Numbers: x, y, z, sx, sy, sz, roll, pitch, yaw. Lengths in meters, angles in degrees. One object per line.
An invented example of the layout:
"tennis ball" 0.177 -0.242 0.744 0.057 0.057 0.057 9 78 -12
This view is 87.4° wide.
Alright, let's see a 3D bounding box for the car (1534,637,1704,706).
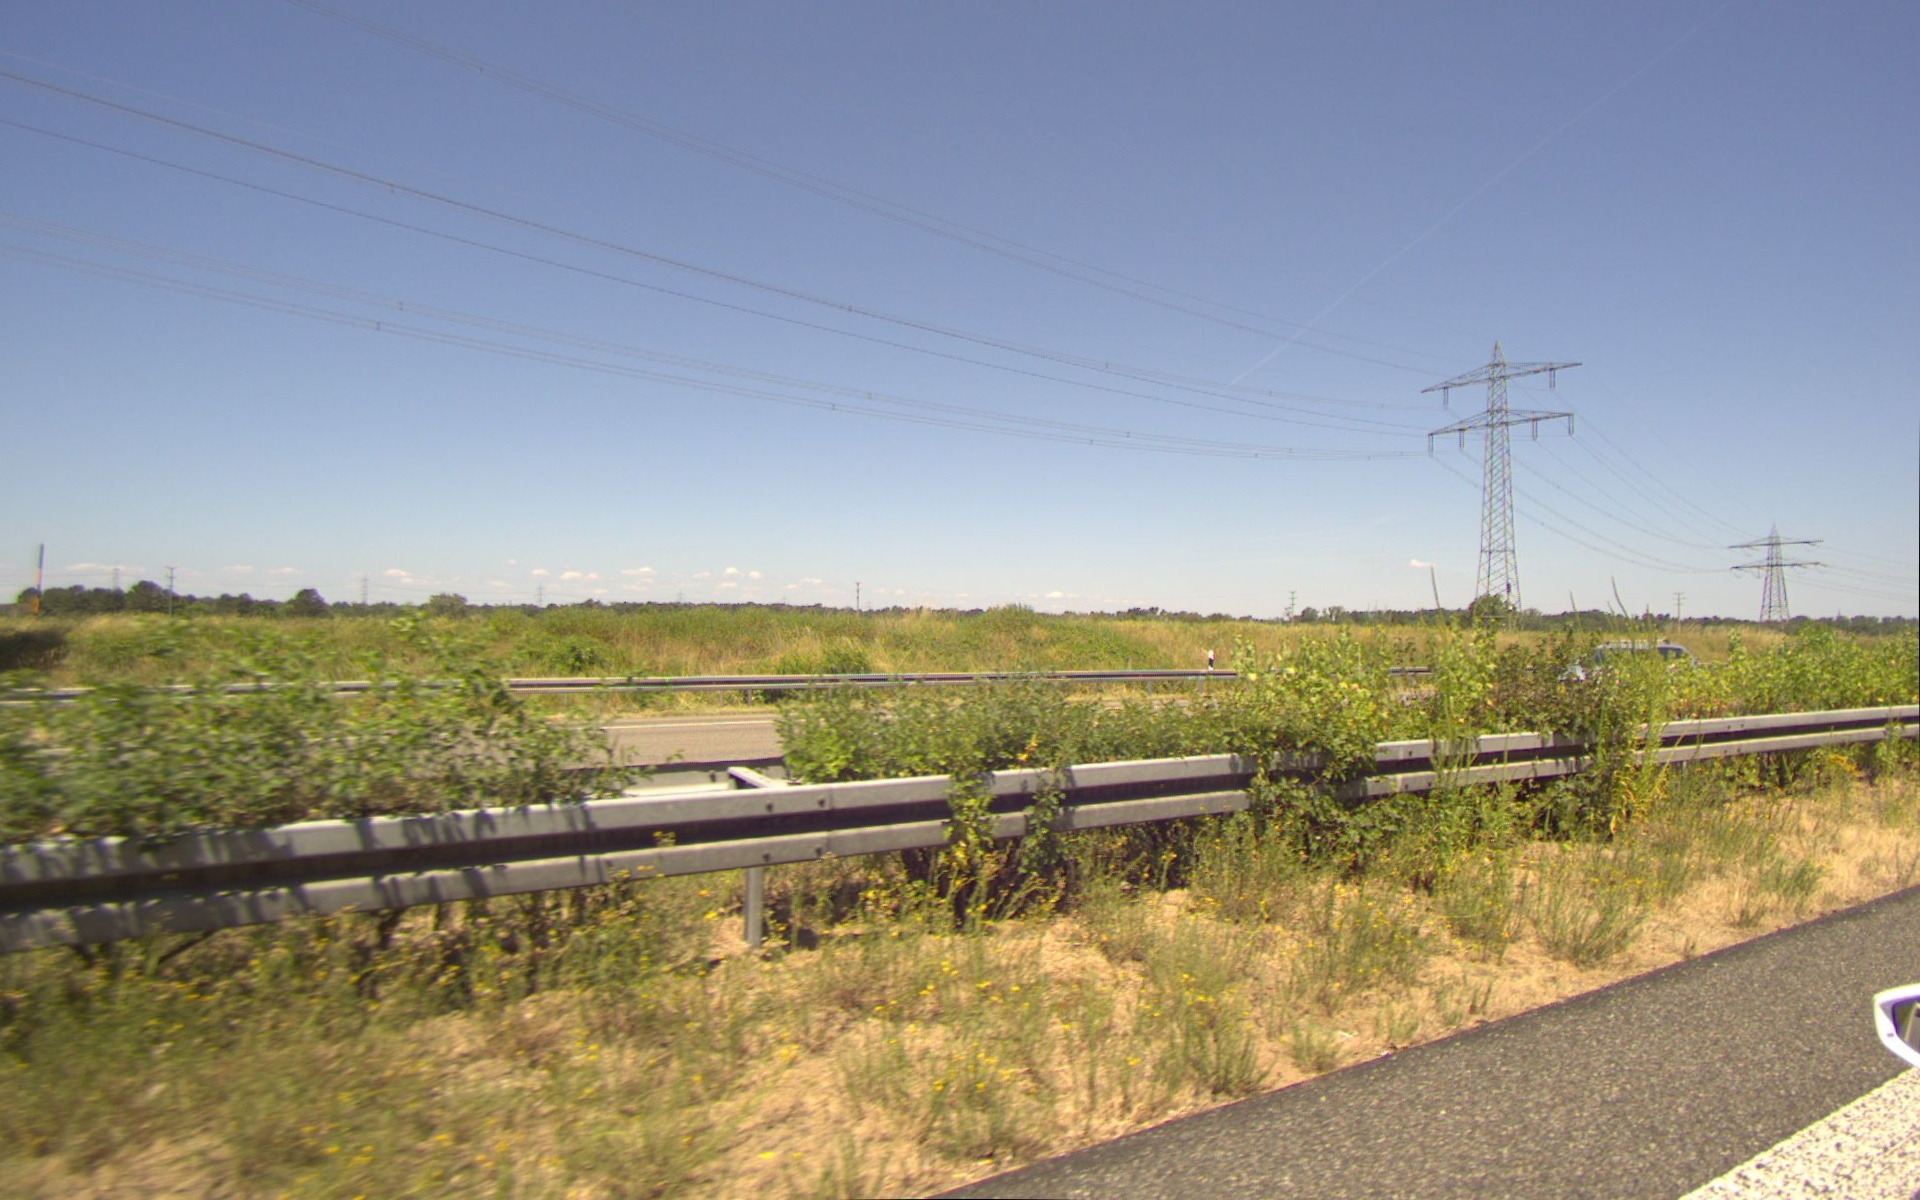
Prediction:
"car" 15.604 1.647 23.772 3.953 1.499 1.804 2 -2 -30
